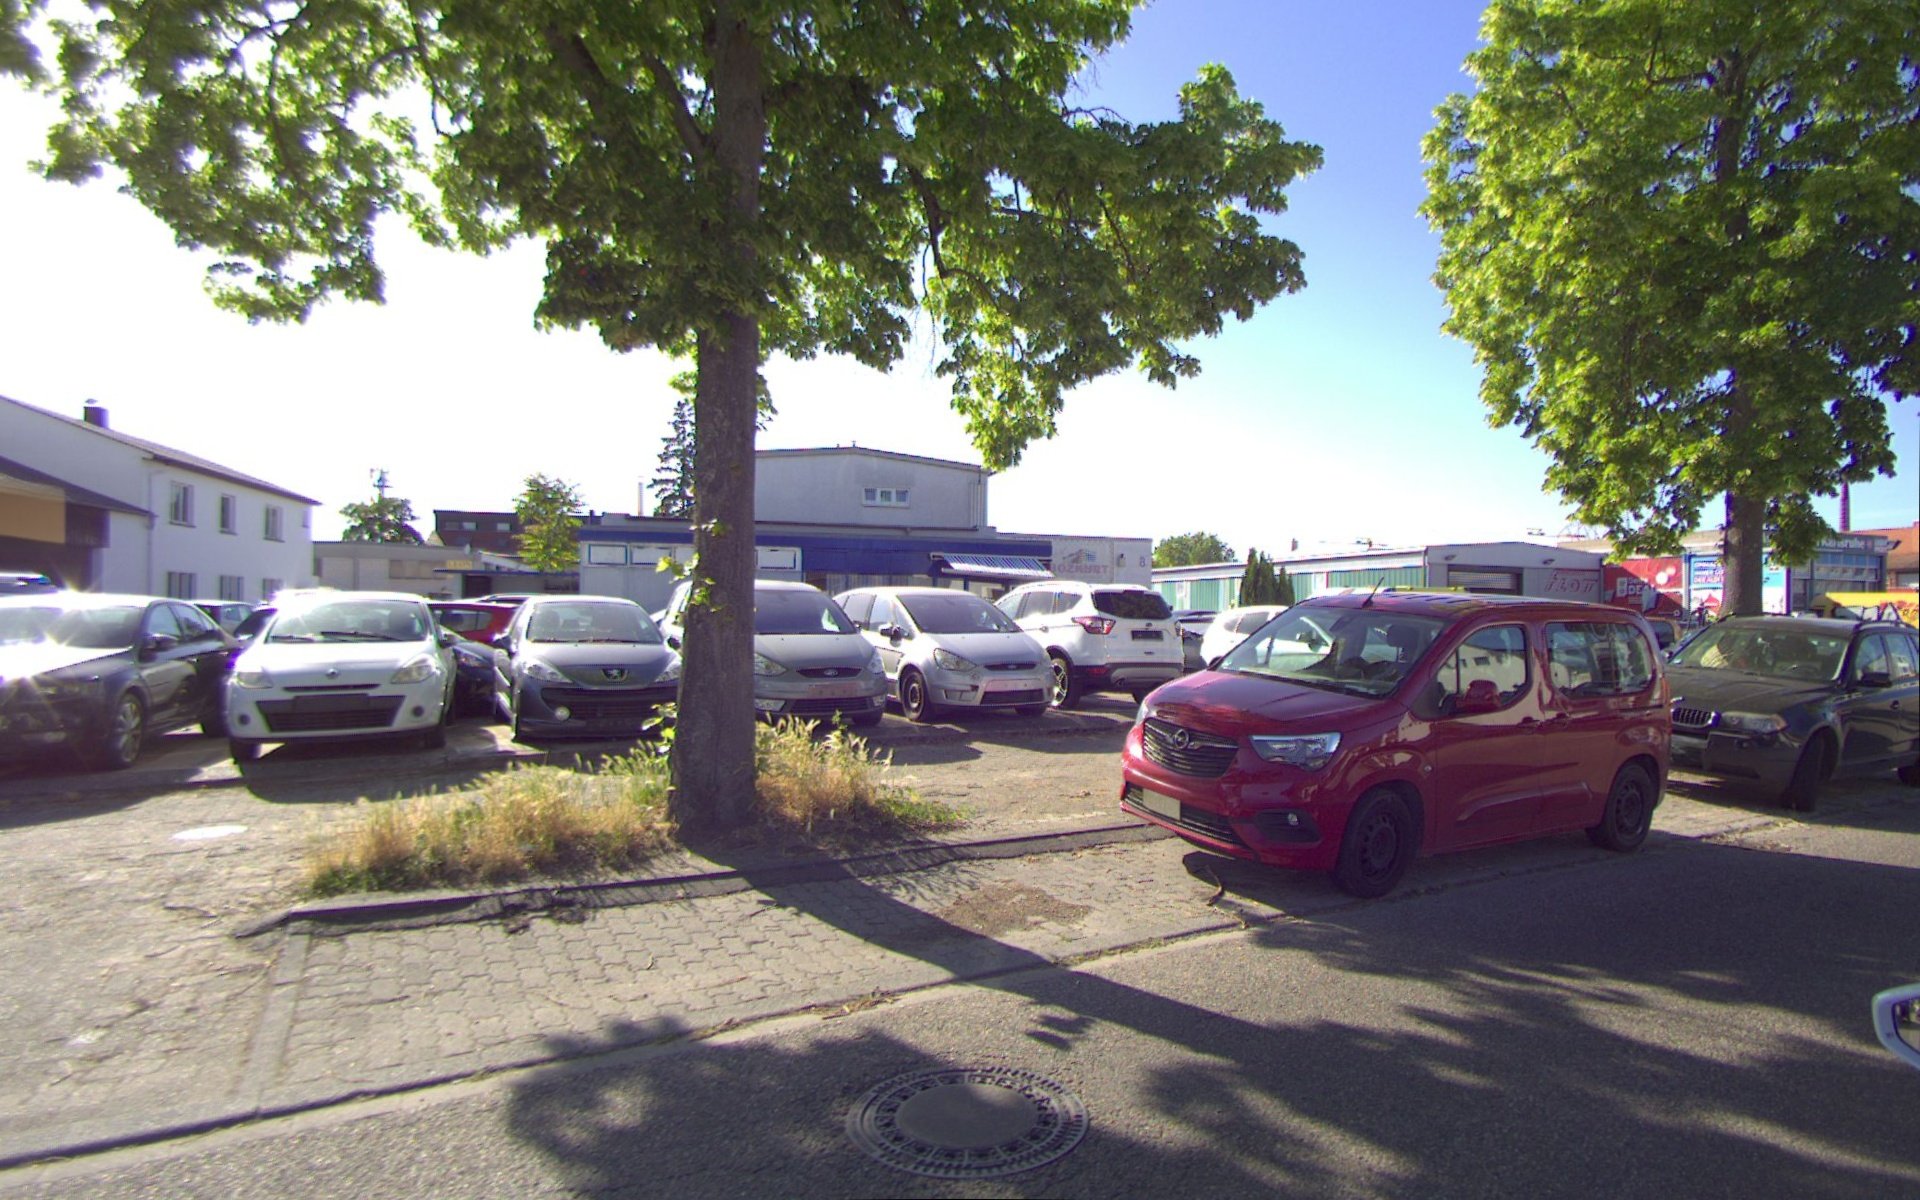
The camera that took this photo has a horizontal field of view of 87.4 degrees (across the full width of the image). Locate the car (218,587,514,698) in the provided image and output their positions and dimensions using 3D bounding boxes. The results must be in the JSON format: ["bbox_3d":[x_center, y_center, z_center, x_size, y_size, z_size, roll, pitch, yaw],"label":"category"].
[{"bbox_3d":[-9.479,0.673,16.428,3.944,1.640,1.660,1,-1,-24],"label":"car"}]

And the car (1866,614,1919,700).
[{"bbox_3d":[21.682,1.251,21.725,4.227,1.737,1.852,2,2,-31],"label":"car"}]

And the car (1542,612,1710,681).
[{"bbox_3d":[18.524,1.242,27.950,4.098,1.771,1.775,0,0,-19],"label":"car"}]

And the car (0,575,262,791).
[{"bbox_3d":[-7.923,0.590,9.122,1.741,1.562,4.239,1,0,-23],"label":"car"}]

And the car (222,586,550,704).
[{"bbox_3d":[-8.156,0.634,14.691,3.944,1.537,1.660,1,-1,-24],"label":"car"}]

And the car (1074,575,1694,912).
[{"bbox_3d":[3.104,0.786,7.155,4.289,1.776,1.795,1,1,-30],"label":"car"}]

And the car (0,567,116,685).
[{"bbox_3d":[-16.244,0.400,16.833,1.651,1.860,4.041,1,-1,-16],"label":"car"}]

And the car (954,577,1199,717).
[{"bbox_3d":[1.538,0.631,14.897,1.741,1.751,4.239,1,-1,-23],"label":"car"}]

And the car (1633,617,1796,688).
[{"bbox_3d":[19.310,1.359,25.684,4.227,1.610,1.852,4,-2,-30],"label":"car"}]

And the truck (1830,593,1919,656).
[{"bbox_3d":[46.226,1.188,48.565,2.137,3.012,6.091,1,-1,-16],"label":"truck"}]

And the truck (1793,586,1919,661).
[{"bbox_3d":[41.225,0.994,44.887,2.483,3.161,5.664,1,1,-18],"label":"truck"}]

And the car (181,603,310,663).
[{"bbox_3d":[-18.795,0.833,26.633,1.477,1.451,4.041,1,-1,-16],"label":"car"}]

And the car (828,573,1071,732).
[{"bbox_3d":[-0.336,0.627,13.377,1.741,1.751,4.239,1,-1,-23],"label":"car"}]

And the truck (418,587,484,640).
[{"bbox_3d":[-23.965,0.621,47.476,1.601,2.314,6.036,1,-1,-16],"label":"truck"}]

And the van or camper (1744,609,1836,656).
[{"bbox_3d":[37.487,1.464,45.372,3.950,2.040,1.853,1,-1,-28],"label":"van or camper"}]

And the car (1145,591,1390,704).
[{"bbox_3d":[5.302,0.779,17.895,1.743,1.751,4.233,1,-1,-27],"label":"car"}]

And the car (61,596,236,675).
[{"bbox_3d":[-17.656,0.728,22.077,1.477,1.565,4.041,1,-1,-16],"label":"car"}]

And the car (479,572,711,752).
[{"bbox_3d":[-4.258,0.550,11.266,1.745,1.607,4.228,1,0,-30],"label":"car"}]

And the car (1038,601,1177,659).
[{"bbox_3d":[4.541,0.927,31.083,3.934,1.676,1.664,1,-1,-16],"label":"car"}]

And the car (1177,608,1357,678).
[{"bbox_3d":[7.252,0.996,23.686,3.944,1.537,1.660,1,-1,-24],"label":"car"}]

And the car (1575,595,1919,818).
[{"bbox_3d":[8.351,0.922,10.160,4.501,1.795,1.666,1,2,-30],"label":"car"}]

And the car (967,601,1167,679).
[{"bbox_3d":[2.285,0.842,21.366,3.944,1.537,1.660,1,-1,-24],"label":"car"}]

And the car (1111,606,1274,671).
[{"bbox_3d":[6.061,0.983,26.140,3.944,1.585,1.660,1,-1,-24],"label":"car"}]

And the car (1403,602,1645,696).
[{"bbox_3d":[11.599,0.957,21.001,1.741,1.751,4.239,1,-1,-23],"label":"car"}]

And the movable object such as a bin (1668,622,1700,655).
[{"bbox_3d":[32.827,1.724,45.538,1.280,1.471,0.537,1,-1,-19],"label":"movable object such as a bin"}]

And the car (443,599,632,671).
[{"bbox_3d":[-9.845,0.810,23.652,3.941,1.576,1.694,1,-1,-22],"label":"car"}]

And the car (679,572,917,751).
[{"bbox_3d":[-2.158,0.648,12.277,1.742,1.776,4.235,1,-1,-25],"label":"car"}]

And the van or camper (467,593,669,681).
[{"bbox_3d":[-8.500,0.795,22.006,3.941,1.797,1.694,1,0,-22],"label":"van or camper"}]

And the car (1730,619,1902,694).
[{"bbox_3d":[20.314,1.304,23.812,4.227,1.611,1.852,2,-1,-31],"label":"car"}]

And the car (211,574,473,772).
[{"bbox_3d":[-6.008,0.602,10.256,1.741,1.562,4.237,0,-1,-24],"label":"car"}]

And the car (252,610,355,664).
[{"bbox_3d":[-19.828,1.080,30.502,1.477,1.496,3.863,1,-1,-16],"label":"car"}]

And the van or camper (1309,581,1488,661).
[{"bbox_3d":[16.056,0.795,36.764,6.172,2.751,2.163,1,0,-19],"label":"van or camper"}]
